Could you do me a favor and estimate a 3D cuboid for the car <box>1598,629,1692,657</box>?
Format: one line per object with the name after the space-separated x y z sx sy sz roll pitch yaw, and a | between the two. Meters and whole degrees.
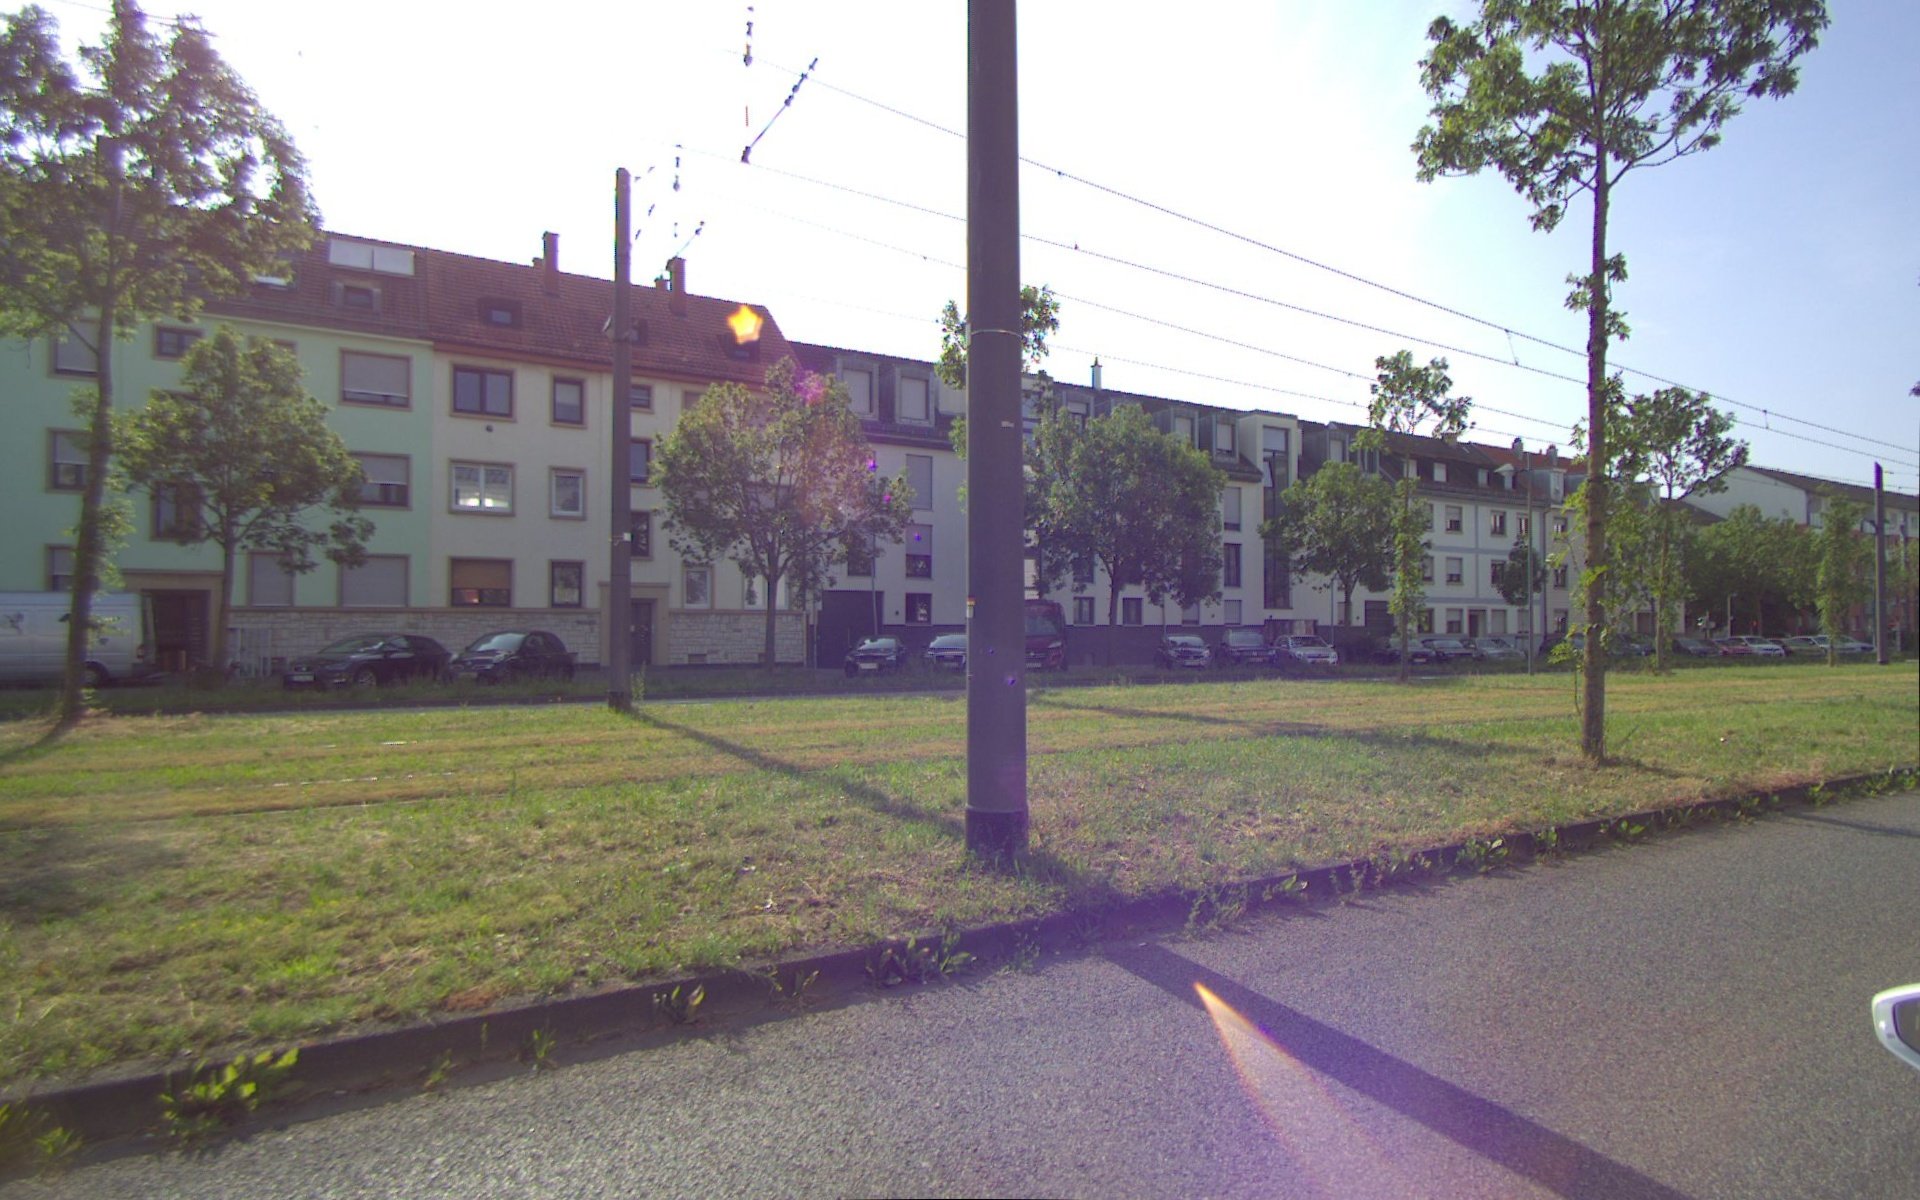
35.229 2.191 51.825 1.961 1.305 4.058 1 0 -3 | car

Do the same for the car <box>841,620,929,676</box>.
-2.283 1.452 31.637 1.831 1.529 4.156 3 0 8 | car

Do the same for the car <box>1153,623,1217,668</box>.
8.070 1.616 36.349 1.746 1.439 4.002 1 0 5 | car

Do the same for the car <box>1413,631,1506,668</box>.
21.563 2.101 43.577 1.890 1.394 3.998 1 0 -3 | car

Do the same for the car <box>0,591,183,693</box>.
-23.637 1.044 25.808 5.511 2.496 1.984 1 0 -30 | car

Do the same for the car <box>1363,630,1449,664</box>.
19.130 1.993 43.281 1.800 1.394 3.999 0 -2 -3 | car

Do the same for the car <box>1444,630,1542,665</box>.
24.410 2.135 46.219 1.962 1.394 4.337 1 0 -4 | car

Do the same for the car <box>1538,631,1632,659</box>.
30.619 2.174 49.356 1.962 1.305 3.998 0 -2 -4 | car

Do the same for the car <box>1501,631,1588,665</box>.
26.956 2.185 46.490 1.633 1.394 3.778 1 0 -4 | car

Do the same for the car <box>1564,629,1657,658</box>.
32.949 2.199 51.003 1.962 1.305 3.997 1 0 -4 | car

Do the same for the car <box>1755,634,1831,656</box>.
52.175 2.797 63.016 1.959 1.194 4.002 1 0 11 | car

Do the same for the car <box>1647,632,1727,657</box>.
40.303 2.440 55.784 1.665 1.251 4.001 1 0 3 | car

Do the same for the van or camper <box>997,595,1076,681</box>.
2.648 1.222 33.508 2.365 2.580 6.166 0 -1 6 | van or camper

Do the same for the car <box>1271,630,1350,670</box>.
13.543 1.909 39.088 1.699 1.338 4.401 1 0 3 | car

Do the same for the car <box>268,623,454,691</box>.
-13.777 1.266 23.394 1.737 1.360 3.780 1 0 7 | car

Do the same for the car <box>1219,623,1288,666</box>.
10.879 1.621 37.470 1.609 1.453 3.723 1 0 3 | car

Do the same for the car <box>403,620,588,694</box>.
-11.117 1.314 24.453 1.959 1.550 4.353 1 0 9 | car

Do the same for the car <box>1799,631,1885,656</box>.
57.611 2.817 65.737 1.924 1.483 4.355 1 0 3 | car

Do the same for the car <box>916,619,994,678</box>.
-0.086 1.496 32.050 1.831 1.637 4.156 3 0 8 | car

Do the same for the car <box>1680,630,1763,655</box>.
43.604 2.401 57.610 1.838 1.275 4.001 1 0 3 | car

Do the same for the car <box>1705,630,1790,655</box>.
46.284 2.482 59.107 1.849 1.286 4.000 1 0 0 | car

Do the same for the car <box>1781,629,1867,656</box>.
54.662 2.659 63.656 1.959 1.534 4.467 1 0 6 | car
